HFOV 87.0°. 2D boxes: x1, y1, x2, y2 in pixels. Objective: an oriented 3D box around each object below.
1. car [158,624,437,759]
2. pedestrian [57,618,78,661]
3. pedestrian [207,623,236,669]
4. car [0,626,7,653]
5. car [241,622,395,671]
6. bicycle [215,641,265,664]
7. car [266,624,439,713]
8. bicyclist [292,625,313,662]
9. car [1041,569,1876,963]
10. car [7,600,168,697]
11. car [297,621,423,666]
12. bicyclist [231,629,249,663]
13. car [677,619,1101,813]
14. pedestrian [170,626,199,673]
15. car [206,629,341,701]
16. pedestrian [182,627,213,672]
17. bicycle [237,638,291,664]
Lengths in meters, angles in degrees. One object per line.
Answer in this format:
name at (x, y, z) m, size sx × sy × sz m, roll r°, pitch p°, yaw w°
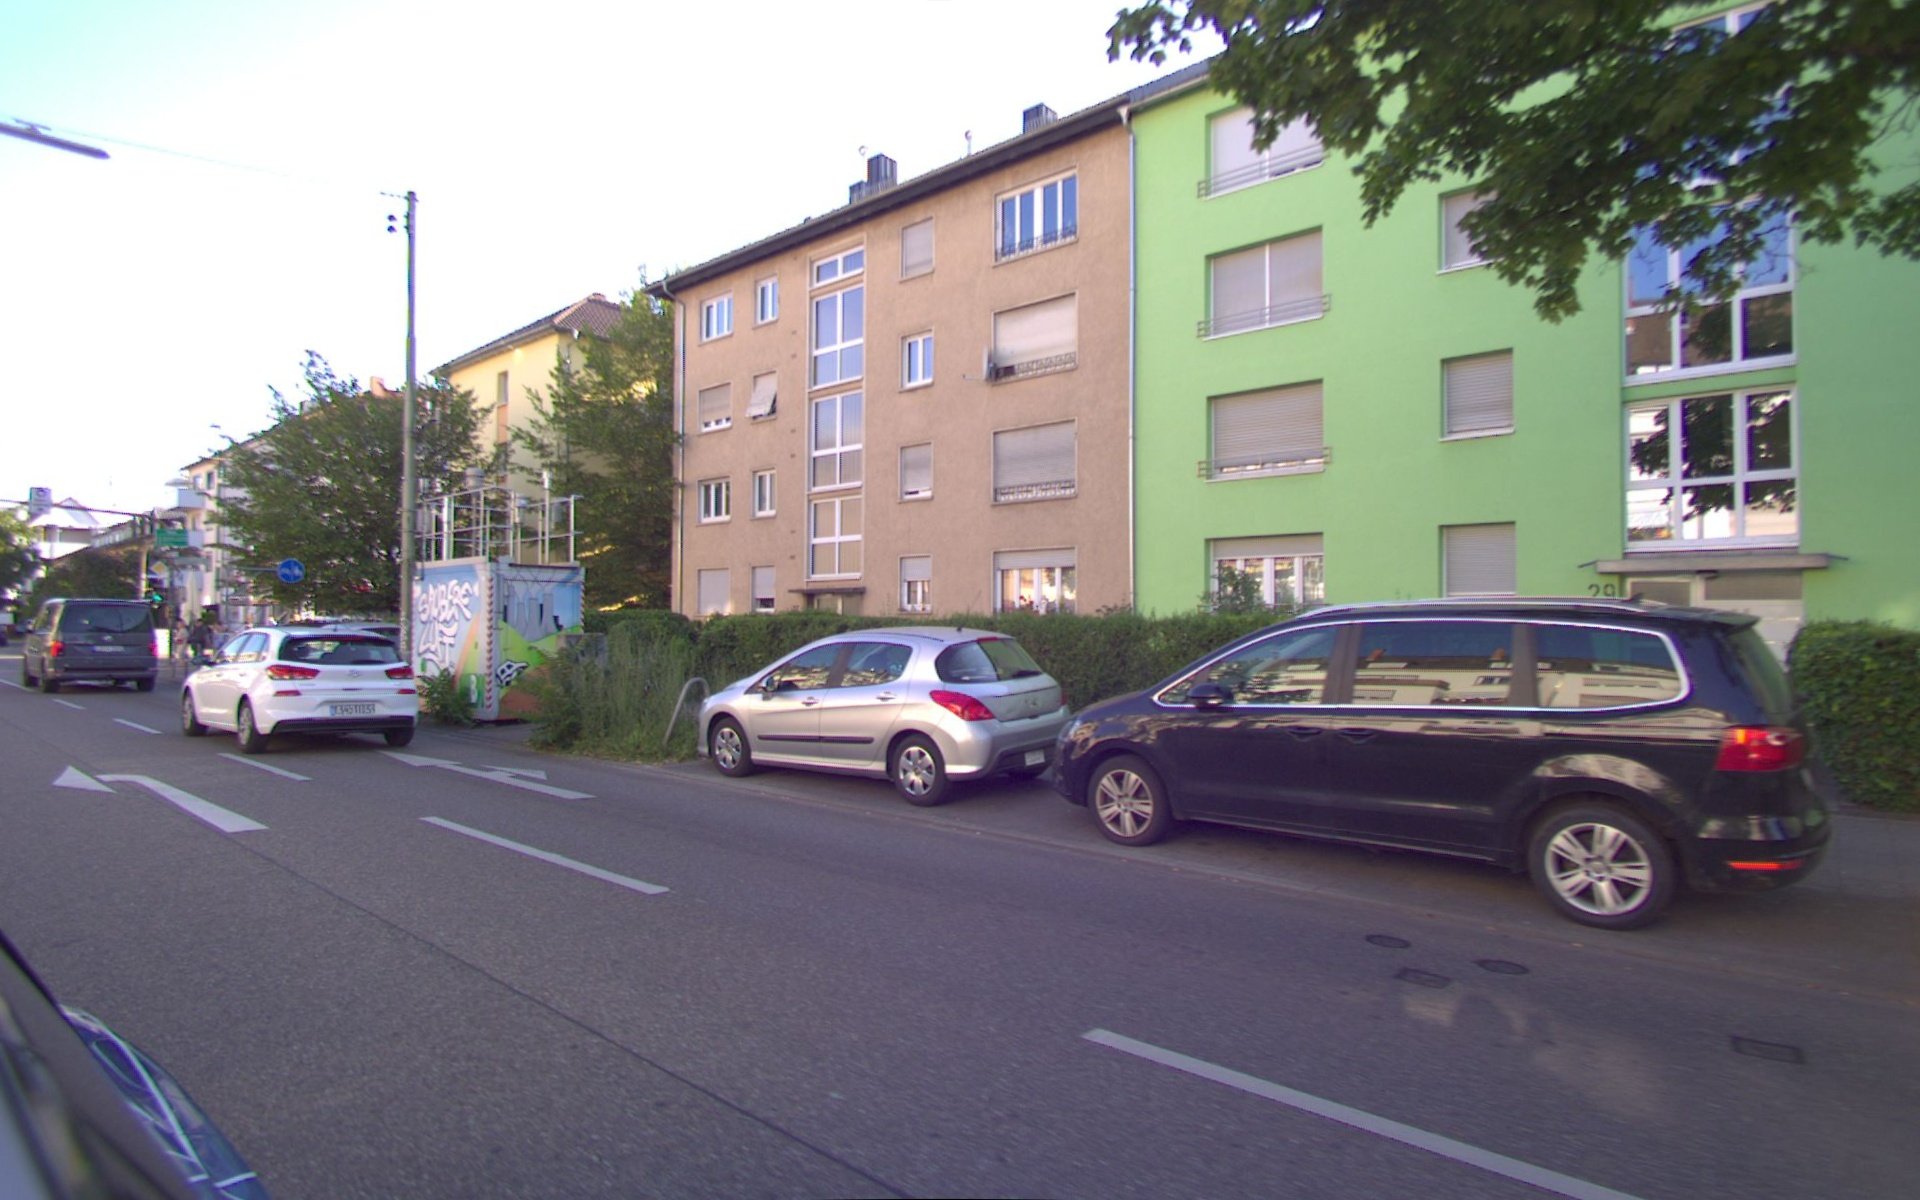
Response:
car at (-8.527, 1.081, 12.910) m, size 4.106 × 1.458 × 1.797 m, roll -1°, pitch -5°, yaw 40°
pedestrian at (-42.549, 1.861, 48.265) m, size 0.739 × 2.029 × 0.631 m, roll -2°, pitch -2°, yaw 42°
pedestrian at (-27.666, 1.728, 37.920) m, size 0.598 × 1.641 × 0.752 m, roll -2°, pitch 1°, yaw -13°
car at (-59.057, 2.378, 60.964) m, size 3.946 × 1.626 × 1.788 m, roll -1°, pitch -2°, yaw 38°
car at (-24.087, 1.701, 38.110) m, size 1.841 × 1.626 × 4.547 m, roll -1°, pitch -1°, yaw 38°
bicycle at (-35.730, 2.588, 50.238) m, size 1.967 × 1.097 × 0.729 m, roll 1°, pitch -3°, yaw -40°
car at (-11.799, 1.260, 19.577) m, size 3.781 × 1.564 × 1.621 m, roll -1°, pitch -2°, yaw 38°
bicyclist at (-31.636, 2.096, 48.698) m, size 0.748 × 1.734 × 0.601 m, roll -3°, pitch -3°, yaw 35°
car at (2.904, 0.802, 6.705) m, size 4.615 × 1.746 × 1.765 m, roll -2°, pitch -3°, yaw 42°
car at (-19.609, 1.078, 22.671) m, size 4.774 × 1.961 × 1.973 m, roll -1°, pitch -4°, yaw 41°
car at (-26.453, 1.888, 44.750) m, size 1.907 × 1.862 × 4.426 m, roll -1°, pitch -2°, yaw 40°
bicyclist at (-35.756, 2.287, 50.229) m, size 0.662 × 1.666 × 0.751 m, roll 2°, pitch -4°, yaw -39°
car at (-0.843, 0.972, 9.990) m, size 4.187 × 1.533 × 1.666 m, roll -1°, pitch -2°, yaw 40°
pedestrian at (-27.743, 1.750, 36.211) m, size 0.749 × 1.606 × 0.601 m, roll 0°, pitch 2°, yaw 38°
car at (-15.593, 1.396, 22.913) m, size 3.942 × 1.490 × 1.636 m, roll -2°, pitch -2°, yaw 42°
pedestrian at (-28.534, 1.832, 37.881) m, size 0.607 × 1.670 × 0.741 m, roll -1°, pitch -2°, yaw 34°
bicycle at (-33.064, 2.408, 48.123) m, size 0.726 × 1.175 × 1.976 m, roll -3°, pitch -3°, yaw 35°
